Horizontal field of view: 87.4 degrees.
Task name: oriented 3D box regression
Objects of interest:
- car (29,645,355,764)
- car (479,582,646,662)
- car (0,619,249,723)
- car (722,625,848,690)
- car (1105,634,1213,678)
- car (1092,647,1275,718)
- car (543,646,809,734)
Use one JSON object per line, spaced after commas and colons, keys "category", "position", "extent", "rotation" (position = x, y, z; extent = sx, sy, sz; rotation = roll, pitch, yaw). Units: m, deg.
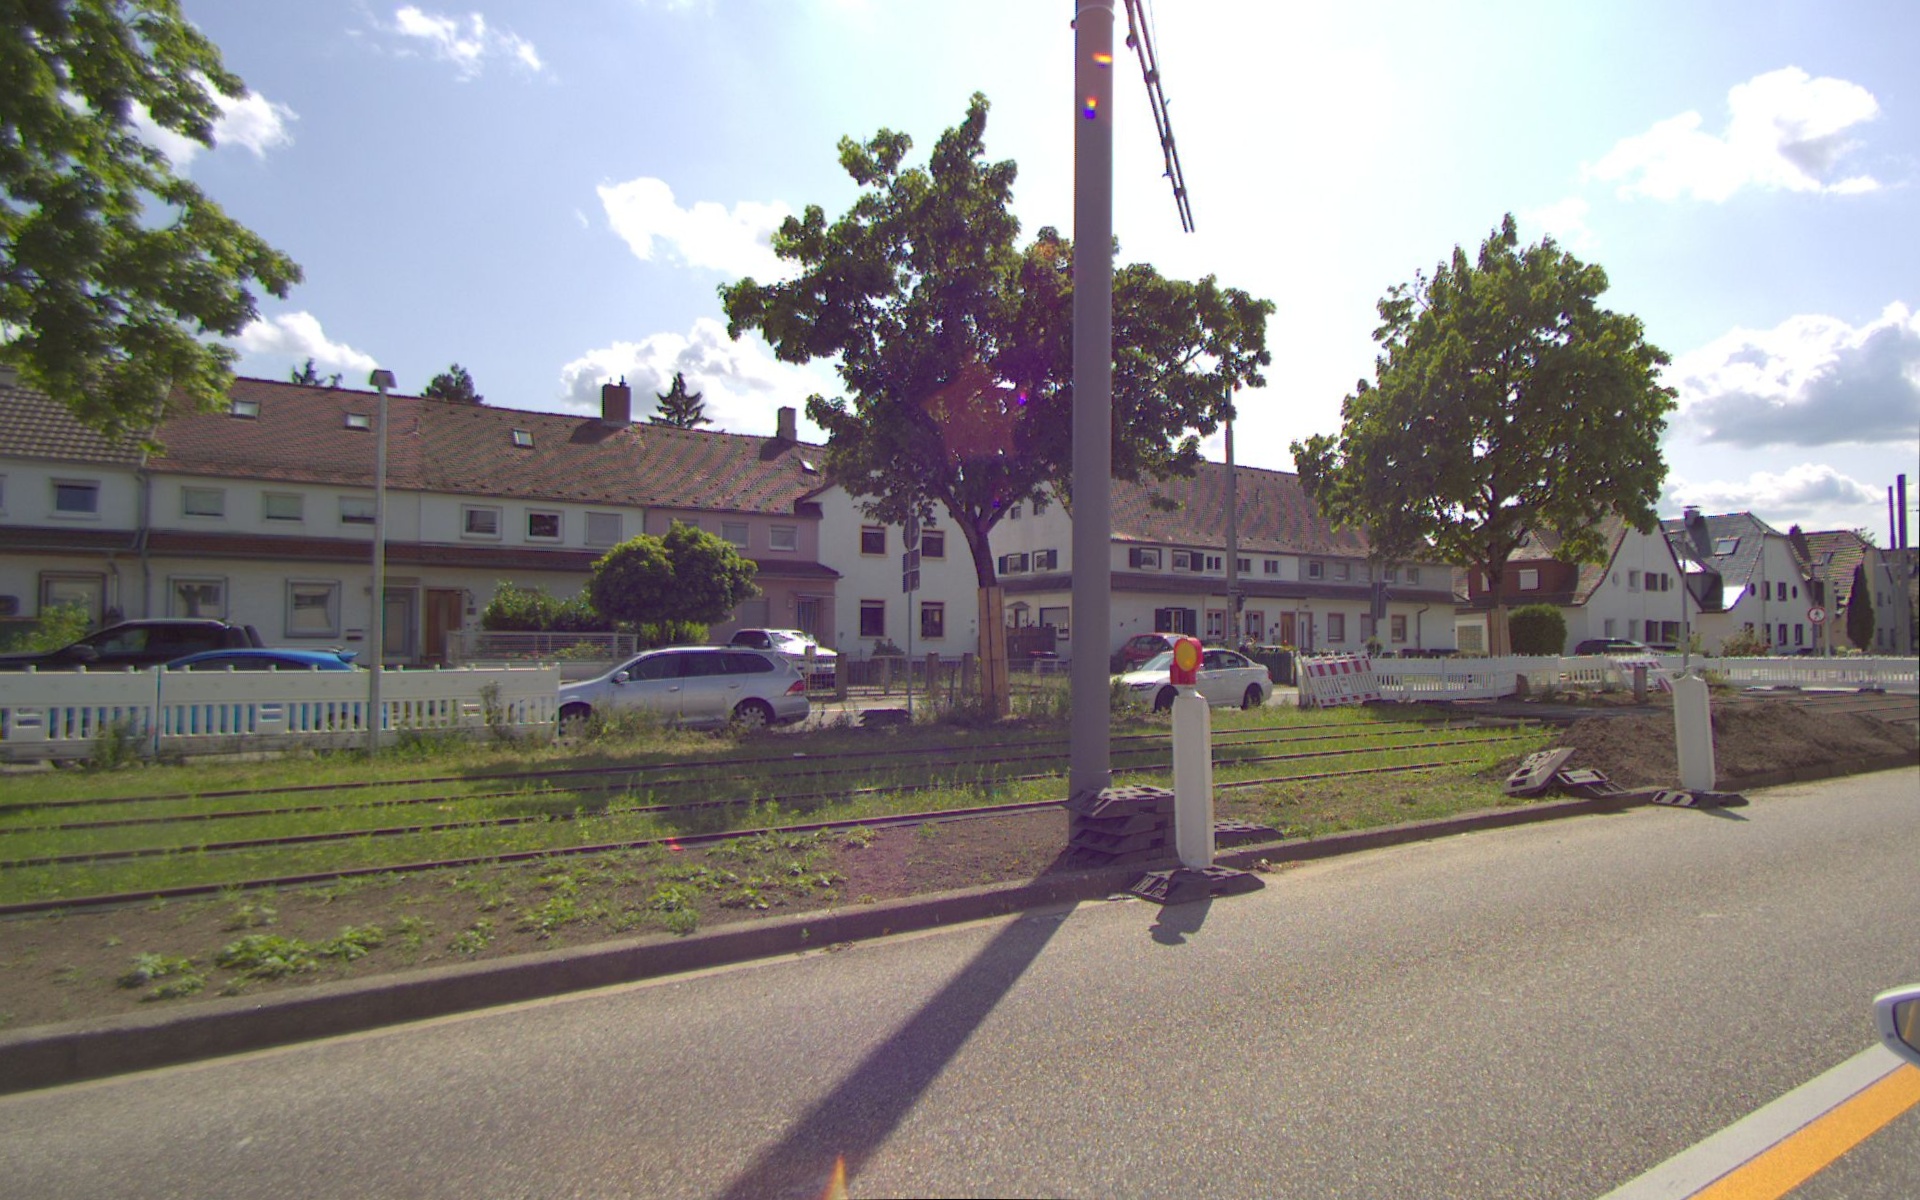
{"category": "car", "position": [-9.588, 1.252, 12.820], "extent": [3.137, 1.342, 1.332], "rotation": [2, -3, -34]}
{"category": "car", "position": [-10.919, 0.629, 27.619], "extent": [3.955, 2.040, 1.983], "rotation": [2, -1, -32]}
{"category": "car", "position": [-13.317, 1.099, 16.057], "extent": [3.058, 1.515, 1.349], "rotation": [2, -3, -32]}
{"category": "car", "position": [-5.376, 1.694, 30.435], "extent": [1.785, 1.708, 4.369], "rotation": [2, -1, -40]}
{"category": "car", "position": [7.323, 2.057, 37.251], "extent": [1.707, 1.529, 3.966], "rotation": [1, -3, -31]}
{"category": "car", "position": [4.931, 1.733, 21.895], "extent": [4.212, 1.394, 1.530], "rotation": [2, -3, -37]}
{"category": "car", "position": [-4.329, 1.315, 15.471], "extent": [3.705, 1.192, 1.495], "rotation": [2, -3, -31]}
